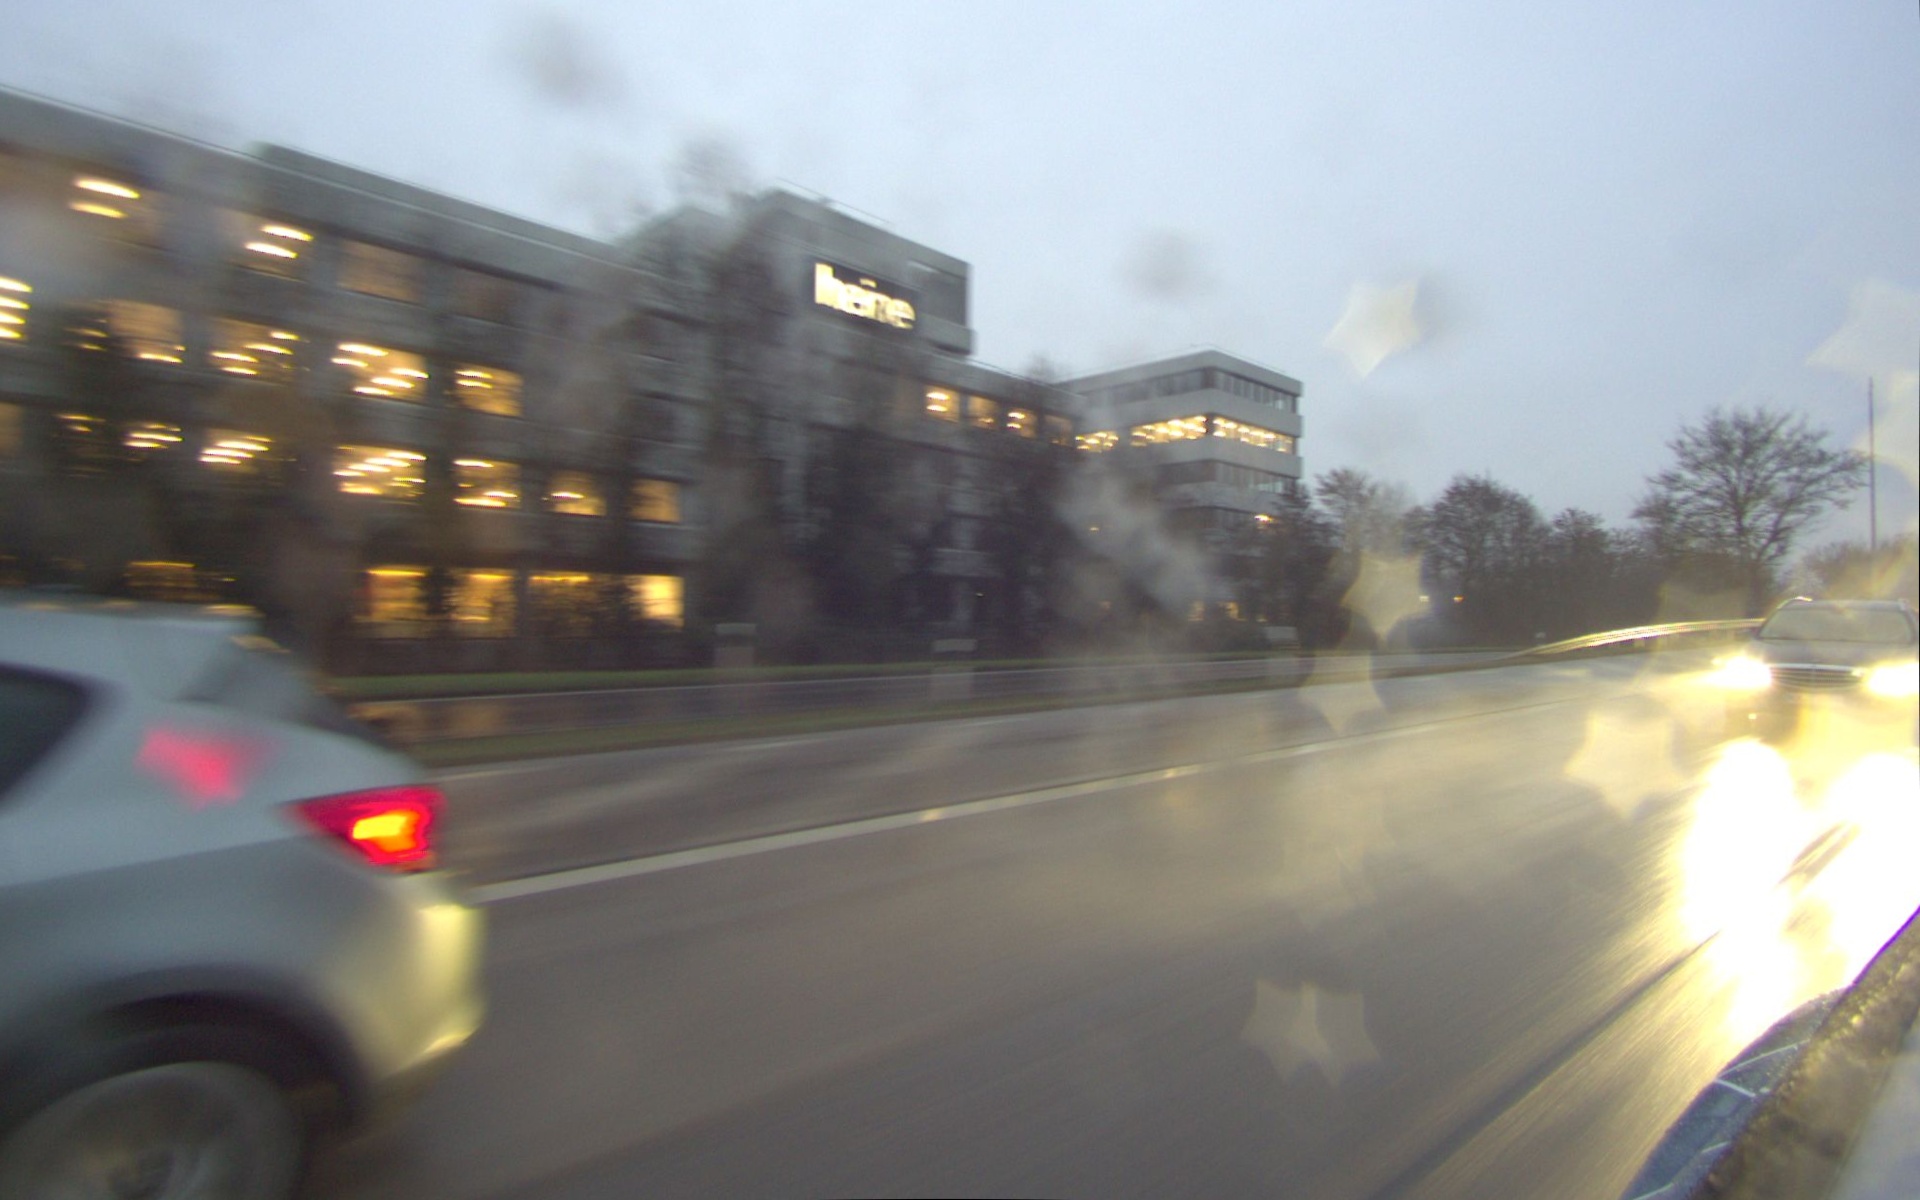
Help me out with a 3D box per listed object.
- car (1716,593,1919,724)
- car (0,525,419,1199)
[{"bbox_3d":[11.510,0.660,13.253,4.100,1.472,1.595,0,0,-38],"label":"car"},{"bbox_3d":[-3.334,0.634,1.485,4.189,1.520,1.852,0,0,-42],"label":"car"}]
